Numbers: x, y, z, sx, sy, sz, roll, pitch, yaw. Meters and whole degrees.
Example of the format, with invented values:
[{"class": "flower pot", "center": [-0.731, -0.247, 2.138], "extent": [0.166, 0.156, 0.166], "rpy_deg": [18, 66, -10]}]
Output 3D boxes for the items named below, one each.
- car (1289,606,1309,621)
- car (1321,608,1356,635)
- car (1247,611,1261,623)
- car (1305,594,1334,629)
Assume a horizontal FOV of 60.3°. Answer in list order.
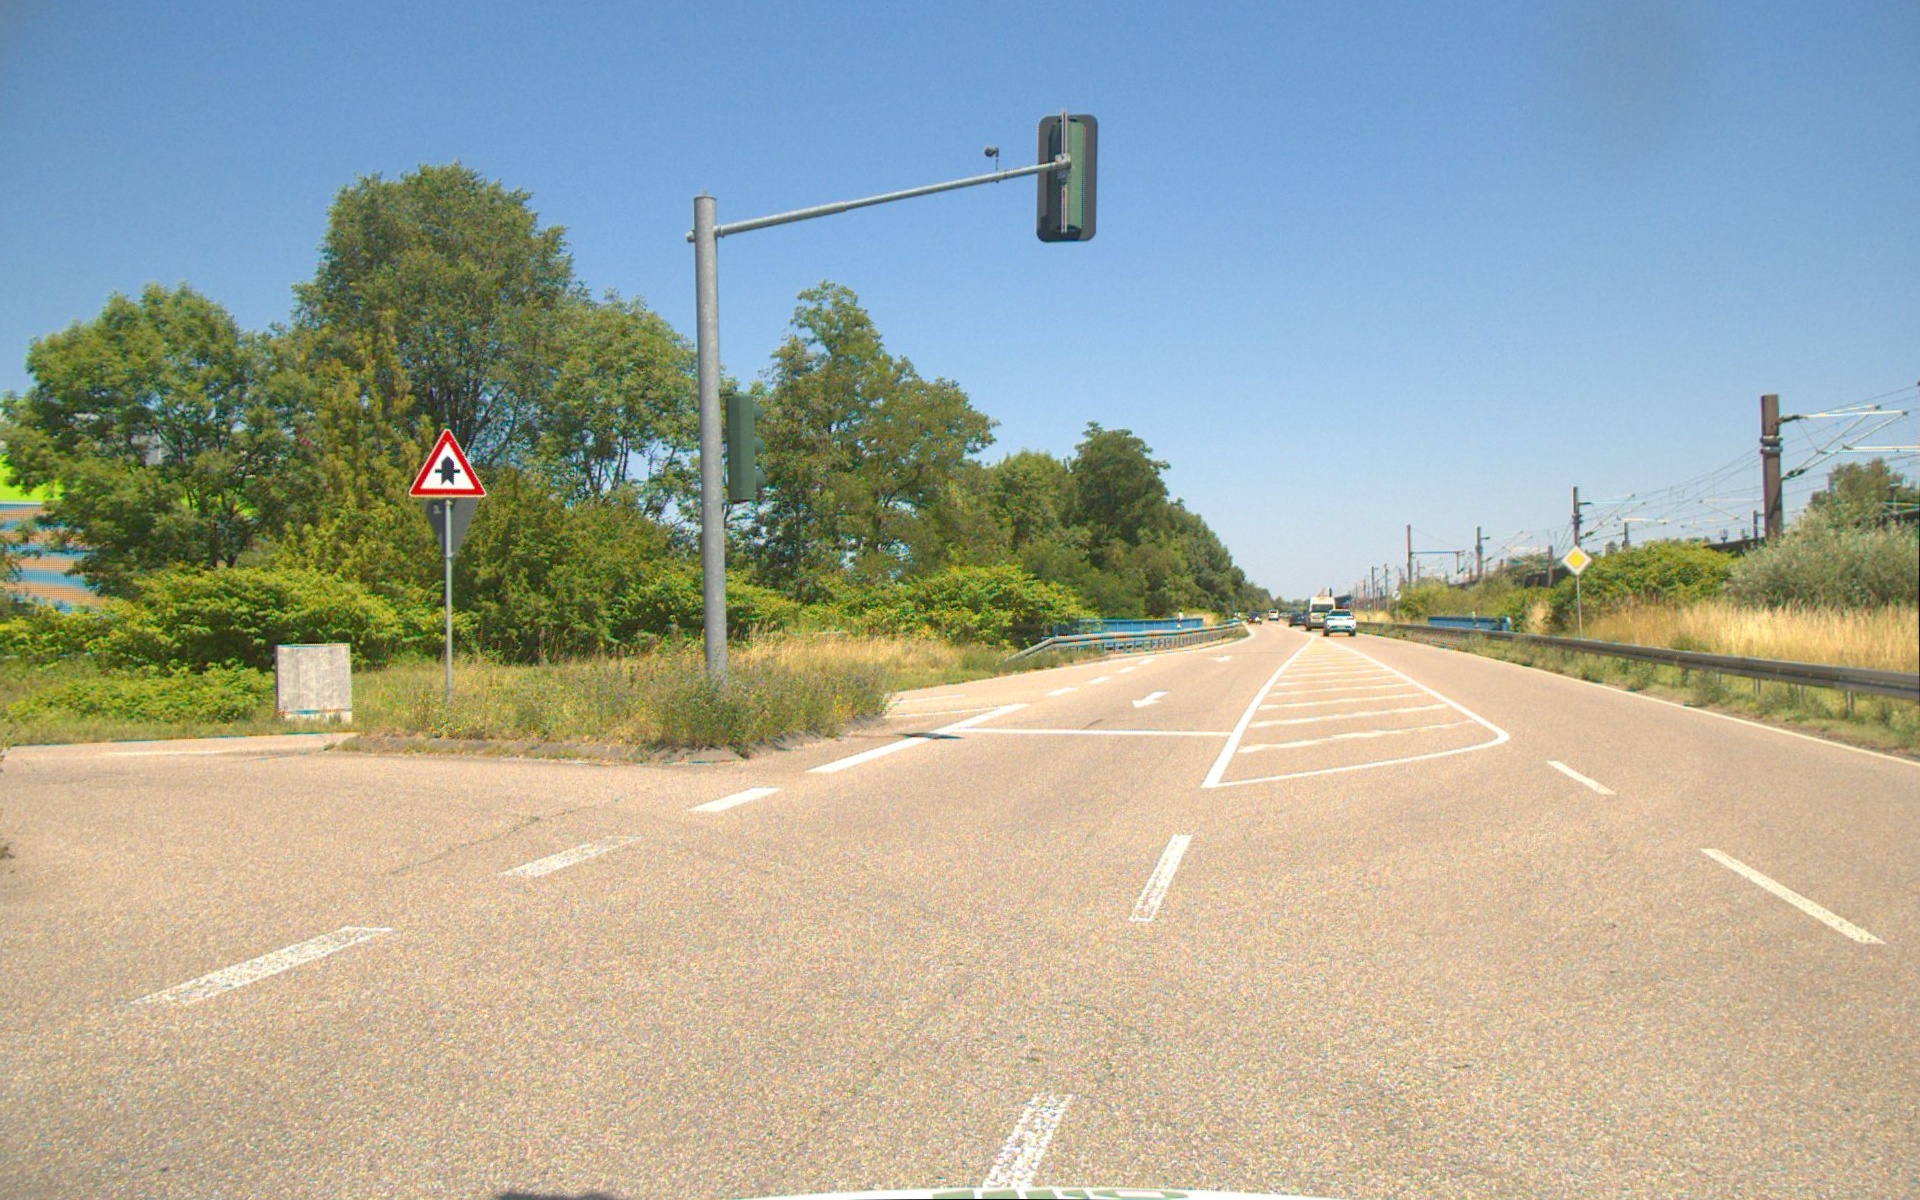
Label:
[{"class": "car", "center": [34.363, 1.355, 167.802], "extent": [1.817, 1.404, 4.507], "rpy_deg": [0, 0, 10]}, {"class": "car", "center": [22.416, 1.245, 98.052], "extent": [1.779, 1.591, 4.282], "rpy_deg": [0, 0, 9]}, {"class": "car", "center": [37.649, 2.180, 211.737], "extent": [1.817, 1.404, 4.507], "rpy_deg": [0, 0, 10]}, {"class": "car", "center": [27.861, 0.868, 128.312], "extent": [2.141, 2.649, 6.756], "rpy_deg": [0, 0, 11]}]
